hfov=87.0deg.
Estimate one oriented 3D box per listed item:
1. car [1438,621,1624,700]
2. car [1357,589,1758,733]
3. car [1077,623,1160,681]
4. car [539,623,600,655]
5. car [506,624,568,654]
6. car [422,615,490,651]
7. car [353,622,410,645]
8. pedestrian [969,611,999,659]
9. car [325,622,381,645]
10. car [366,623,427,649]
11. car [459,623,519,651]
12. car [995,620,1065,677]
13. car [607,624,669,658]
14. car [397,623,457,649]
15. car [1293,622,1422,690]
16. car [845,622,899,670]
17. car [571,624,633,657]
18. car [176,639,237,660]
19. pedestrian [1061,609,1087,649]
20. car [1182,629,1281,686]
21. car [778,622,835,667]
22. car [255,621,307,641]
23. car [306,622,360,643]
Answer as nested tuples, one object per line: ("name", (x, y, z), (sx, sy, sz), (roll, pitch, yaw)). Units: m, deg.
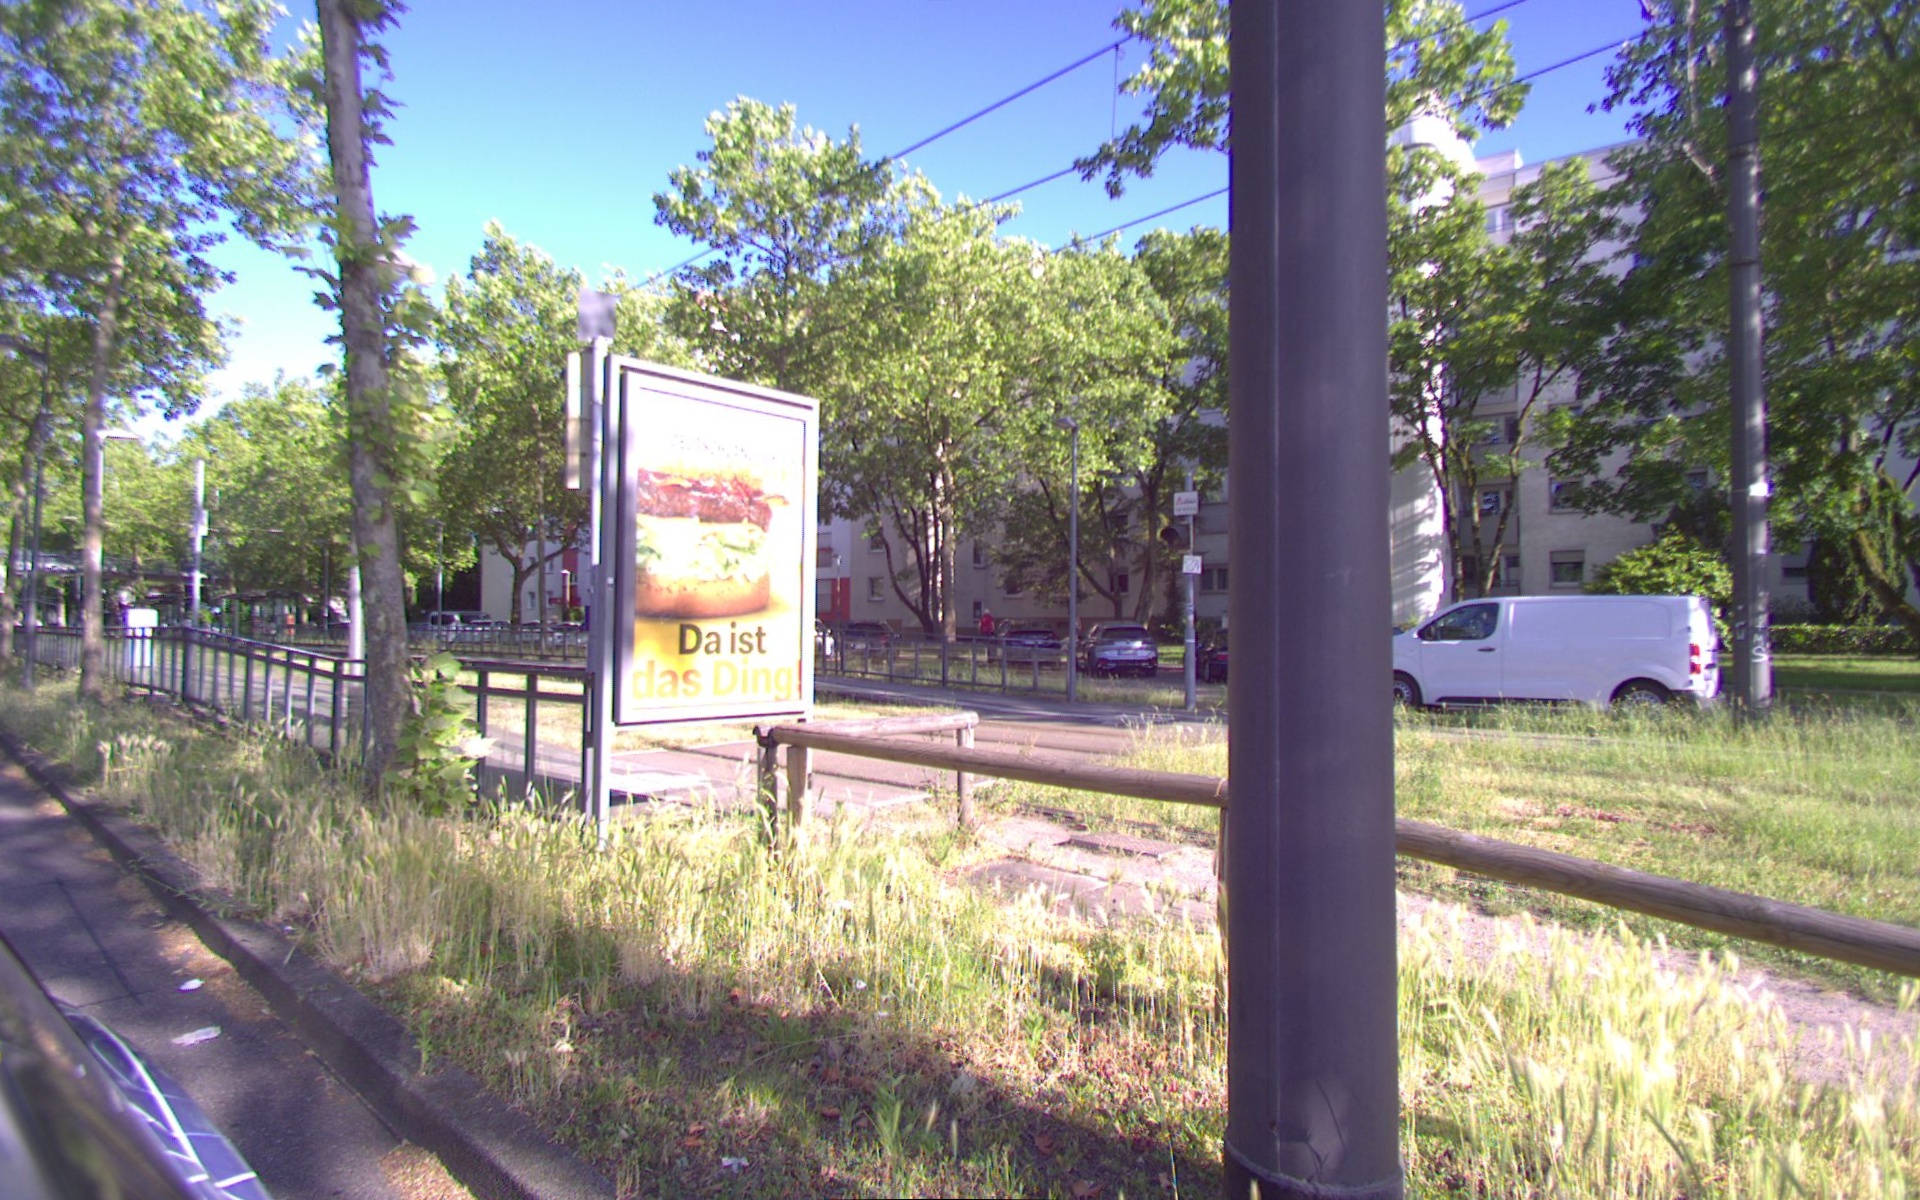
("car", (11.481, 1.164, 20.666), (1.559, 1.413, 3.906), (-1, -1, 0))
("car", (8.791, 0.824, 15.251), (4.903, 1.835, 1.807), (-2, -1, 44))
("car", (4.225, 1.367, 27.520), (1.633, 1.413, 3.803), (-1, -1, 0))
("car", (-19.039, 1.901, 49.539), (1.633, 1.452, 3.805), (-1, -1, -2))
("car", (-21.331, 1.943, 51.183), (1.633, 1.452, 3.805), (-1, -1, -2))
("car", (-28.447, 1.828, 57.253), (1.814, 1.888, 4.323), (-1, -1, -2))
("car", (-37.880, 2.177, 66.376), (1.633, 1.452, 3.805), (-1, -1, -2))
("pedestrian", (0.880, 1.270, 37.216), (0.786, 1.745, 0.755), (-1, 0, 39))
("car", (-40.833, 2.231, 68.189), (1.633, 1.452, 3.805), (-1, -1, -2))
("car", (-33.689, 2.118, 60.601), (1.633, 1.452, 3.805), (-1, -1, -2))
("car", (-25.865, 2.003, 55.659), (1.633, 1.452, 3.805), (-1, -1, -2))
("car", (1.991, 1.358, 29.667), (1.633, 1.522, 3.805), (-1, -1, -2))
("car", (-14.057, 1.769, 44.336), (1.633, 1.366, 3.805), (-1, -1, -2))
("car", (-31.326, 2.087, 59.598), (1.633, 1.452, 3.805), (-1, -1, -2))
("car", (9.150, 1.241, 23.592), (1.559, 1.413, 3.638), (-1, -1, 0))
("car", (-2.969, 1.530, 34.649), (1.633, 1.522, 3.805), (-1, -1, -2))
("car", (-16.620, 1.859, 47.158), (1.633, 1.452, 3.805), (-1, -1, -2))
("car", (-56.131, 3.667, 75.383), (4.615, 1.522, 1.643), (-1, -1, 25))
("pedestrian", (4.715, 1.193, 41.773), (0.786, 1.635, 0.755), (-1, 0, 39))
("car", (6.682, 1.380, 25.278), (1.445, 1.234, 3.815), (-1, -1, 0))
("car", (-5.559, 1.572, 37.018), (1.633, 1.522, 3.805), (-1, -1, -2))
("car", (-53.046, 2.406, 79.150), (1.633, 1.452, 3.805), (-1, -1, -2))
("car", (-44.974, 2.292, 72.679), (1.633, 1.452, 3.805), (-1, -1, -2))
